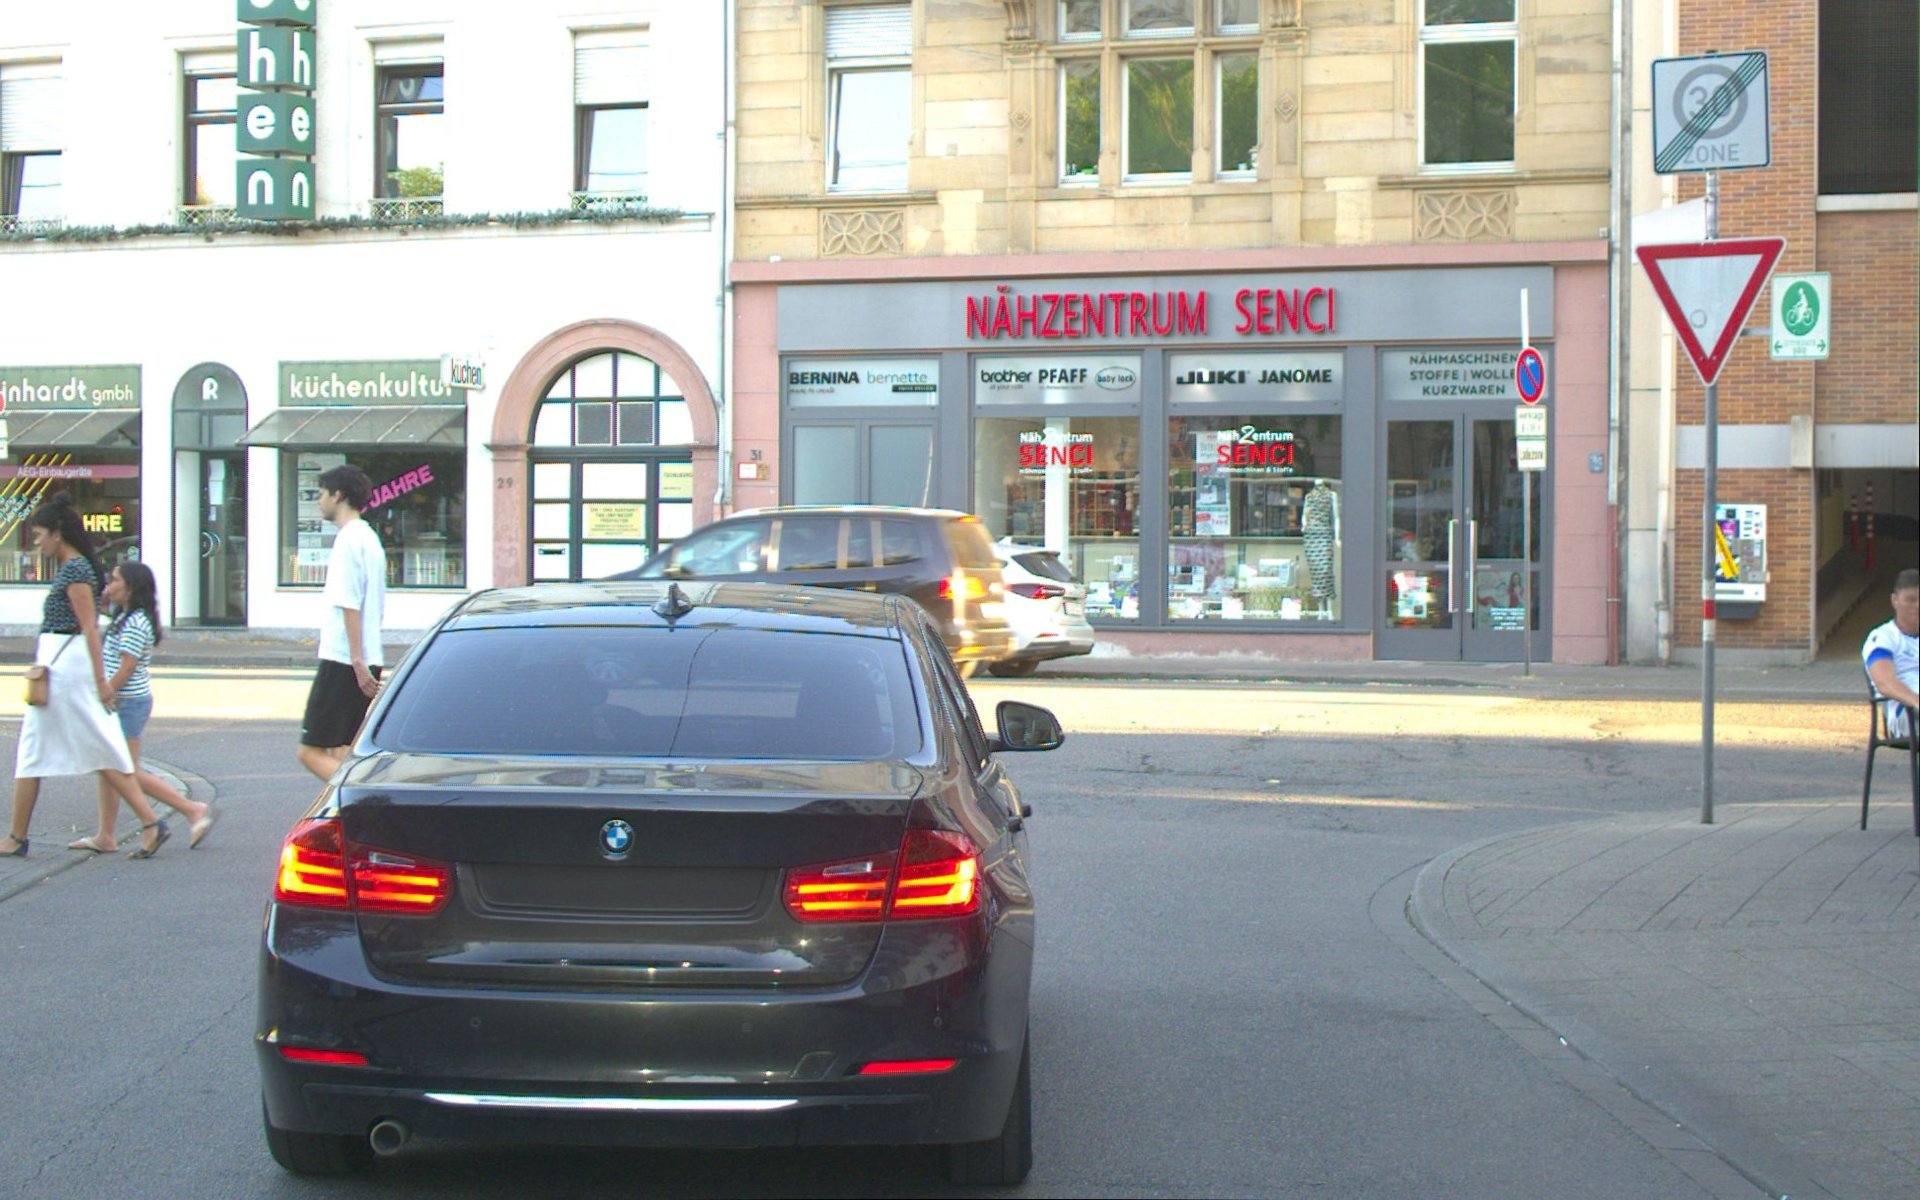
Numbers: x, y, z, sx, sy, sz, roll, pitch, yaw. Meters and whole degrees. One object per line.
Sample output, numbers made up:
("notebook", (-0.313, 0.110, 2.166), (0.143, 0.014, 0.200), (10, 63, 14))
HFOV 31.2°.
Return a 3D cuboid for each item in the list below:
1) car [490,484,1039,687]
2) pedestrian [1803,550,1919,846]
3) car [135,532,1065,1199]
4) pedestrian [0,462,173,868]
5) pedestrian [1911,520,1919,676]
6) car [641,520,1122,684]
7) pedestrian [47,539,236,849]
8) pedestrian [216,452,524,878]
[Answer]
("car", (-1.778, -0.185, 31.753), (4.605, 1.647, 2.096), (2, 2, 16))
("pedestrian", (4.626, 0.452, 16.475), (0.768, 1.377, 0.839), (0, 0, -28))
("car", (-0.766, 0.609, 9.154), (1.888, 1.487, 4.205), (1, 0, -1))
("pedestrian", (-4.258, 0.294, 16.313), (0.779, 1.869, 0.714), (1, 1, -32))
("pedestrian", (4.558, 0.403, 14.580), (0.712, 1.530, 0.853), (-4, 1, -1))
("car", (-0.827, -0.001, 36.635), (4.671, 1.530, 1.998), (2, 1, 20))
("pedestrian", (-4.042, 0.454, 16.969), (0.714, 1.481, 0.604), (1, 1, -32))
("pedestrian", (-2.676, 0.275, 15.616), (0.889, 1.847, 0.983), (3, 1, 37))
